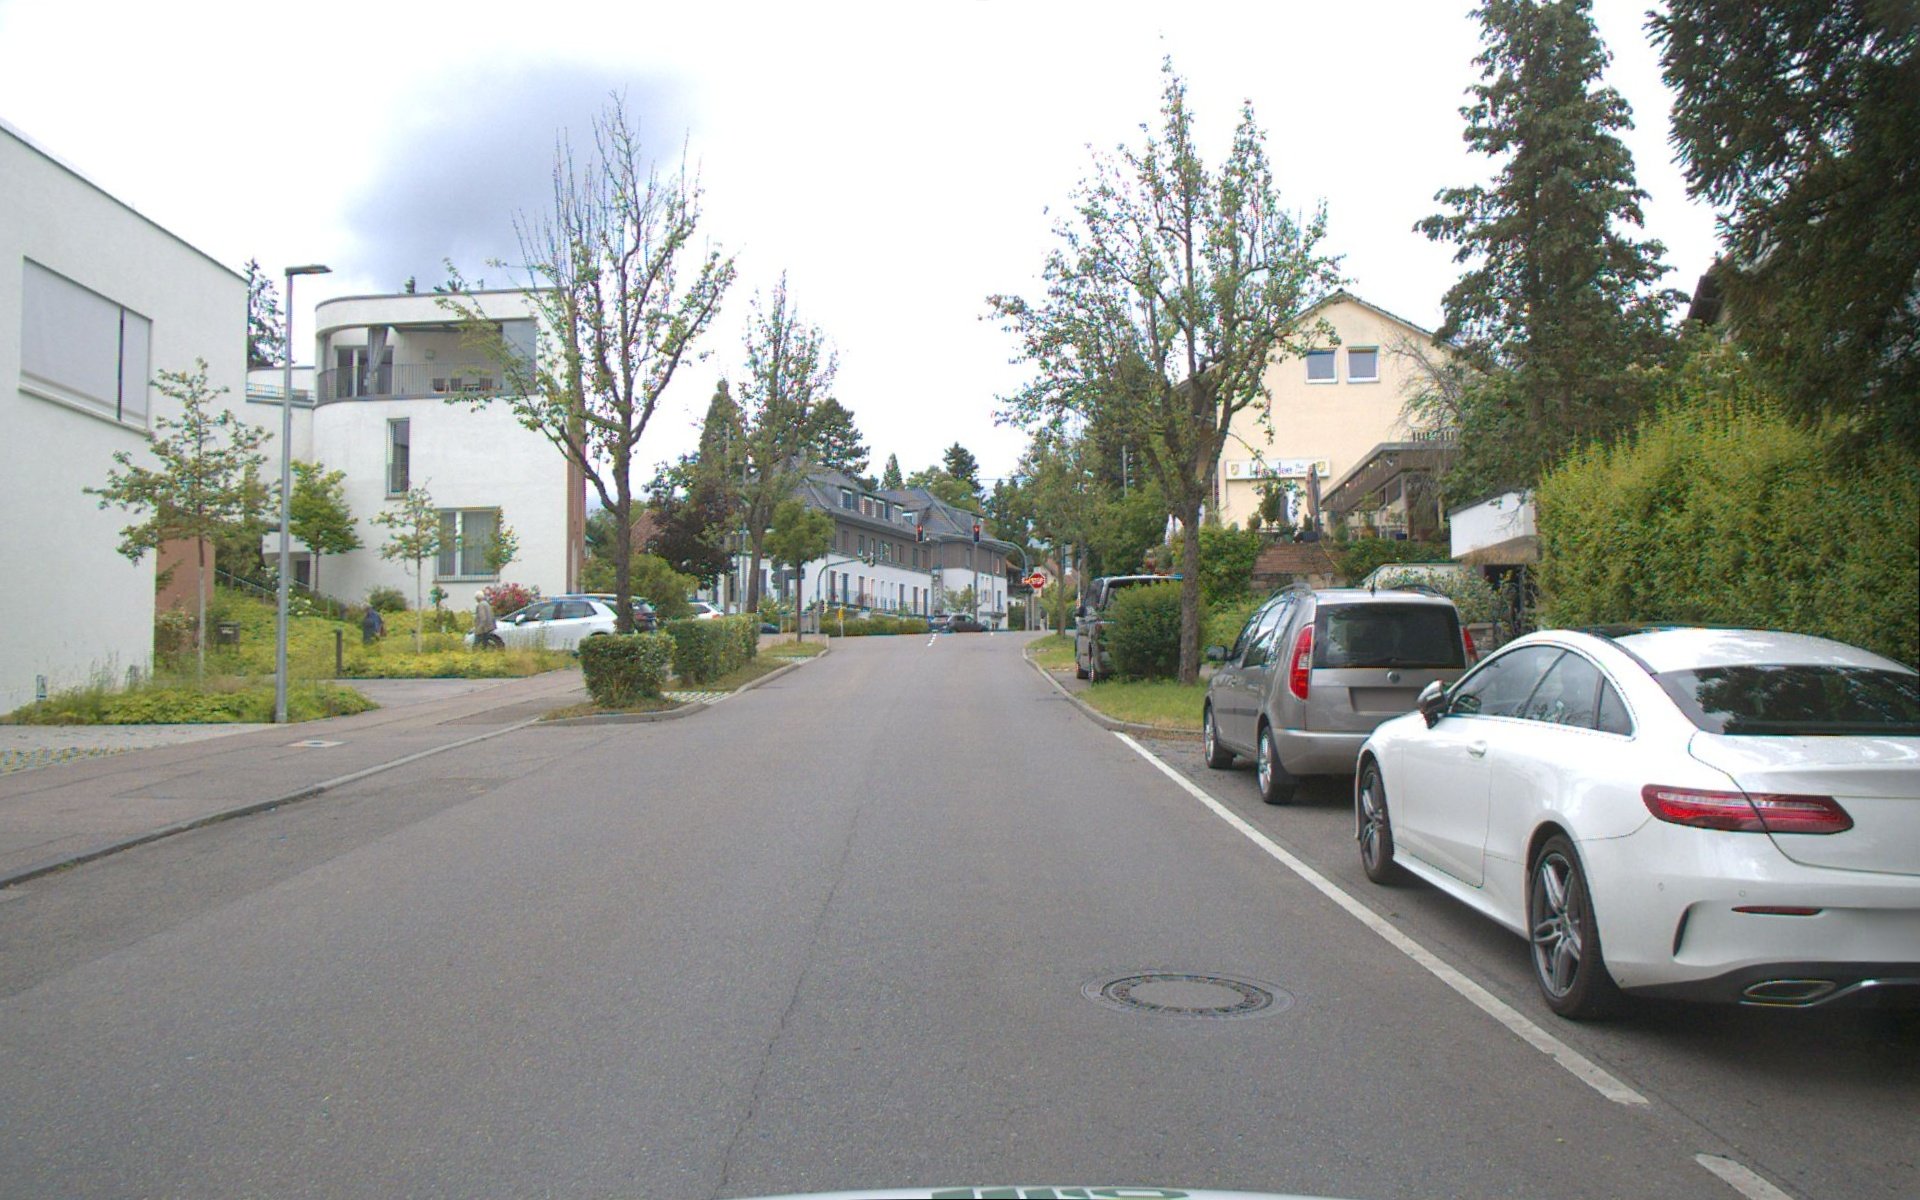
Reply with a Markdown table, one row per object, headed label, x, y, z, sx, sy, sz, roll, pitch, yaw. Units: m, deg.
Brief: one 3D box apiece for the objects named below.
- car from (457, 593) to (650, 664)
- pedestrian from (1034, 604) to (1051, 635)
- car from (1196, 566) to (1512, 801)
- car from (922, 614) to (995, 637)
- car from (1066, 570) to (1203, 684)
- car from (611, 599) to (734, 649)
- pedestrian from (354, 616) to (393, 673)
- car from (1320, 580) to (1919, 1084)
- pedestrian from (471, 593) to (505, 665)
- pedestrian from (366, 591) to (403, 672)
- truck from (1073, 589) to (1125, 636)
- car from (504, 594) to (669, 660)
| label | x | y | z | sx | sy | sz | roll | pitch | yaw |
| --- | --- | --- | --- | --- | --- | --- | --- | --- | --- |
| car | -10.093 | 0.696 | 41.339 | 4.298 | 1.594 | 2.065 | -2 | 0 | -2 |
| pedestrian | 4.625 | 1.100 | 92.772 | 0.673 | 1.711 | 0.696 | -1 | -1 | 41 |
| car | 3.113 | 0.608 | 13.861 | 1.682 | 1.661 | 3.928 | 1 | 0 | 0 |
| car | -0.078 | 1.494 | 97.806 | 3.952 | 1.310 | 1.976 | 1 | 0 | -35 |
| car | 3.081 | 0.457 | 30.225 | 1.896 | 1.870 | 5.218 | -1 | 0 | 0 |
| car | -10.419 | 0.887 | 60.173 | 4.175 | 1.652 | 2.012 | -2 | -1 | -4 |
| pedestrian | -13.757 | 1.037 | 38.795 | 0.594 | 1.305 | 0.899 | 0 | 0 | -1 |
| car | 3.186 | 0.698 | 7.614 | 1.953 | 1.517 | 5.004 | -2 | 0 | 0 |
| pedestrian | -11.124 | 0.669 | 38.992 | 0.581 | 1.669 | 0.565 | -2 | 0 | 0 |
| pedestrian | -12.315 | 0.678 | 35.395 | 0.576 | 1.711 | 0.519 | -1 | 0 | 1 |
| truck | 7.426 | 0.720 | 88.938 | 2.139 | 2.234 | 5.879 | -1 | -3 | -1 |
| car | -9.875 | 0.701 | 43.984 | 3.905 | 1.682 | 2.008 | 0 | 0 | 0 |
